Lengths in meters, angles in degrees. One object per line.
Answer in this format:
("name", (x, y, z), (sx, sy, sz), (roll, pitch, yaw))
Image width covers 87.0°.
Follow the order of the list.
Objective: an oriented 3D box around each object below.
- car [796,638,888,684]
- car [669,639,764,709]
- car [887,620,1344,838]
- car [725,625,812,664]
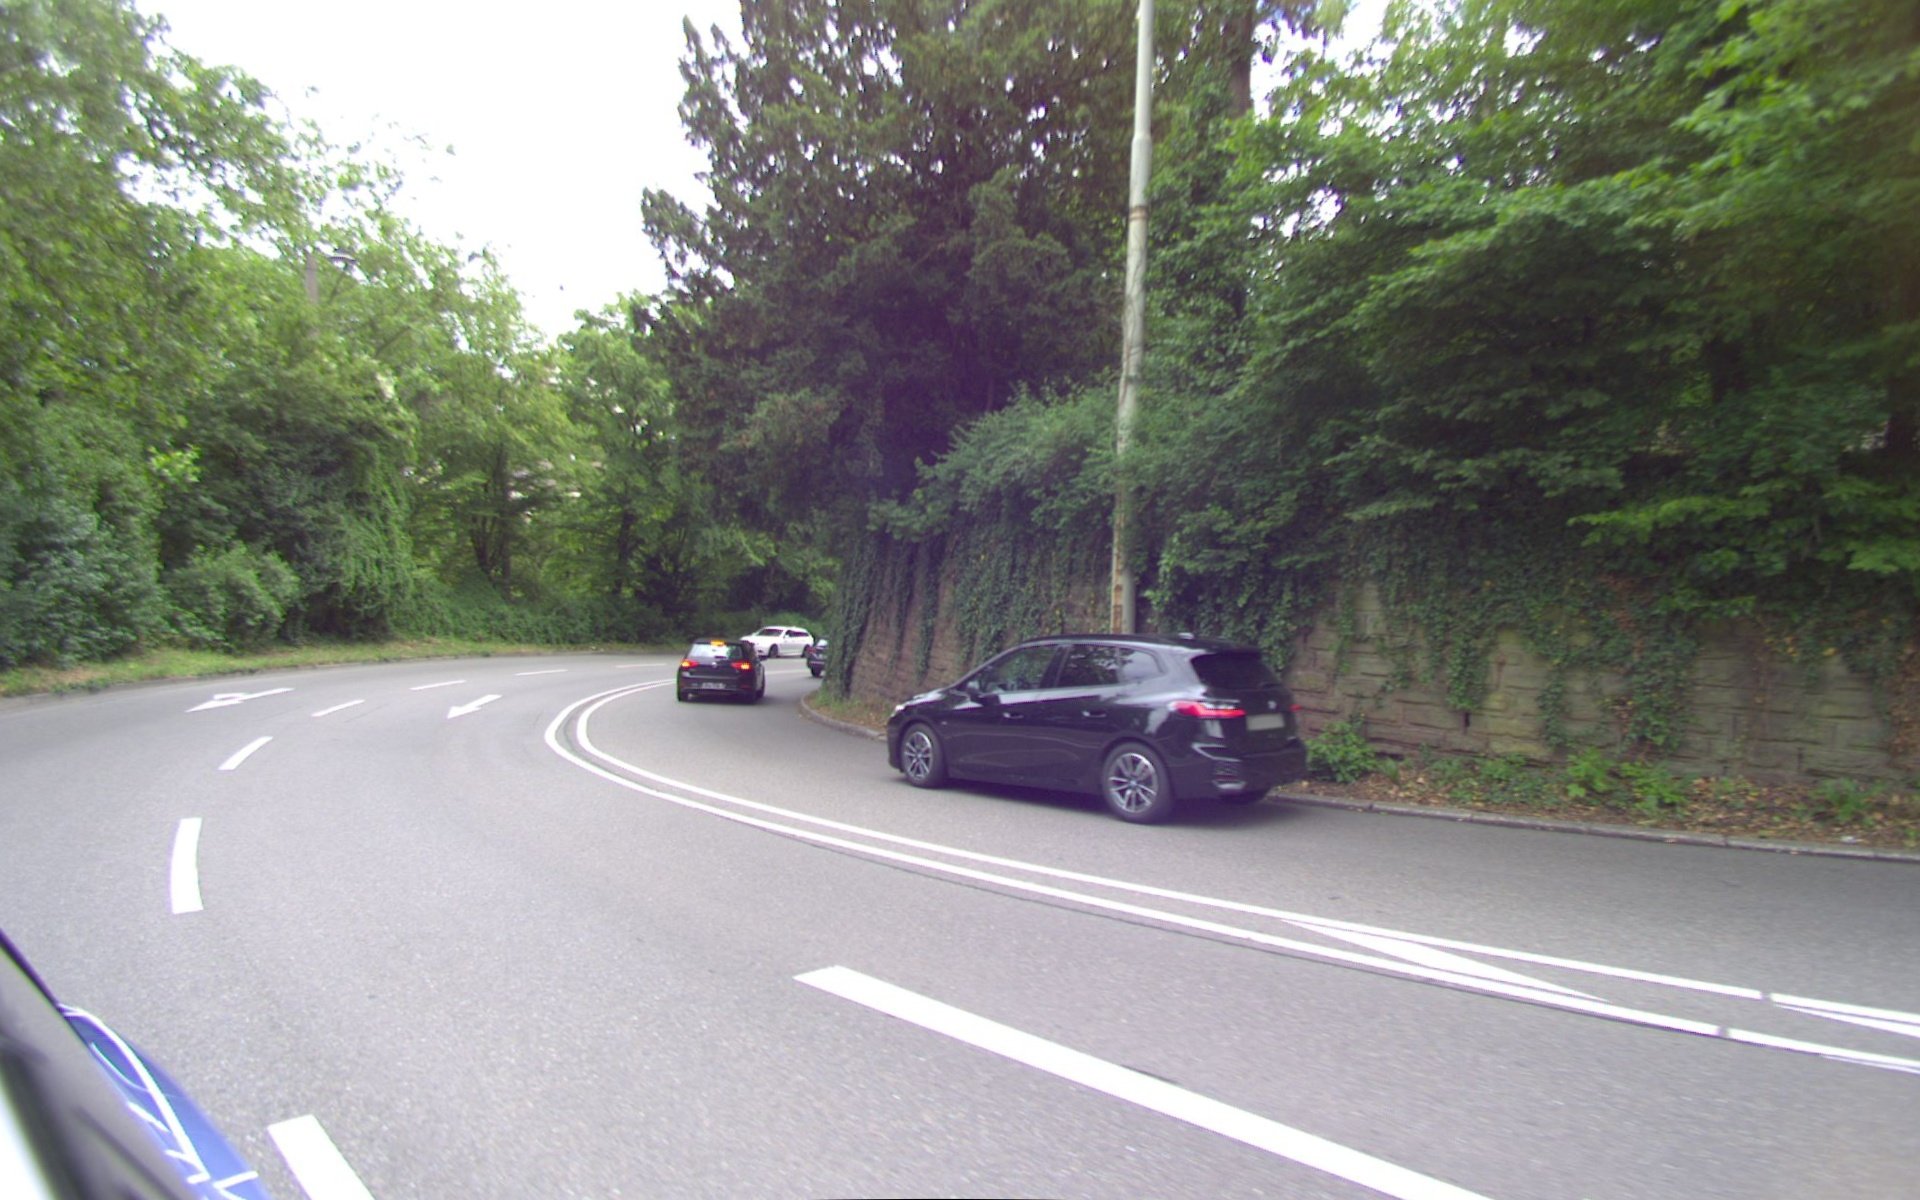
("car", (-4.152, 2.173, 36.250), (1.649, 1.451, 4.270), (2, -3, 17))
("car", (-5.639, 1.685, 23.853), (1.779, 1.454, 4.007), (3, -3, -8))
("car", (1.245, 1.056, 9.435), (1.585, 1.586, 4.065), (3, -5, -45))
("car", (-8.808, 2.072, 46.950), (1.903, 1.563, 4.497), (4, -1, 19))
